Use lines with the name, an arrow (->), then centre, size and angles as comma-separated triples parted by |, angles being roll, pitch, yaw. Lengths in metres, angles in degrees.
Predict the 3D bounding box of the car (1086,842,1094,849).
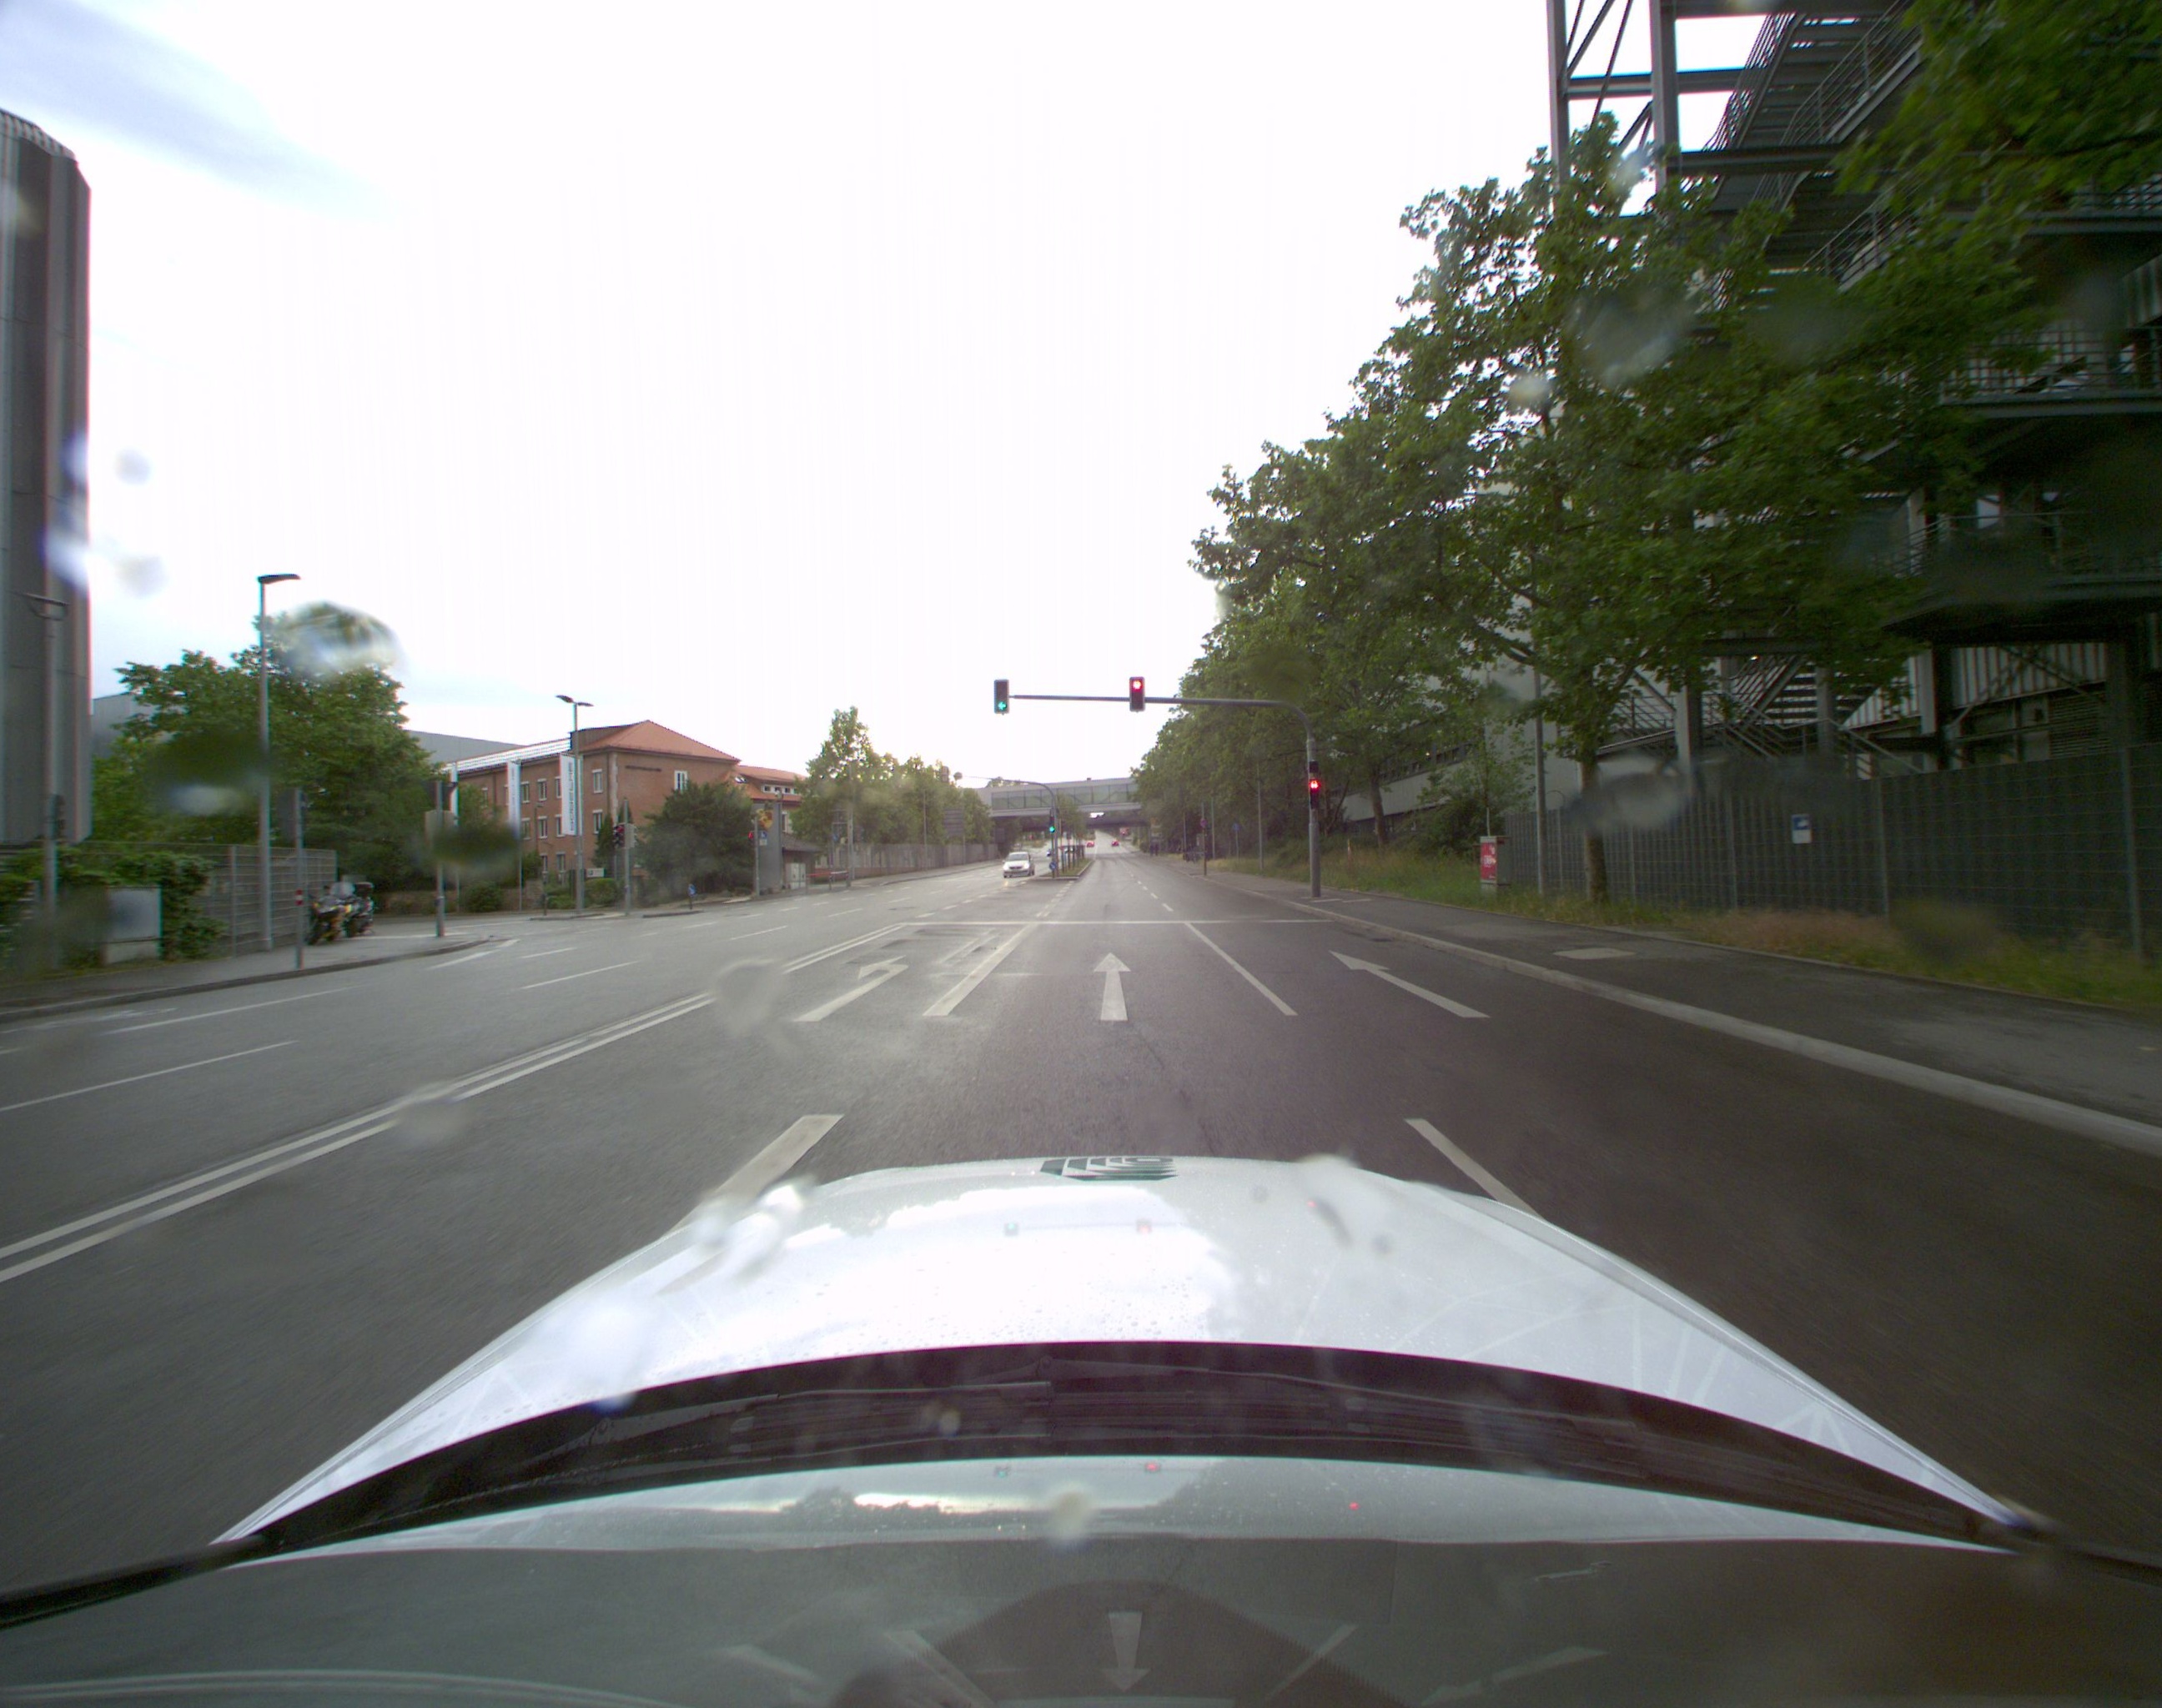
car -> 2.468, -2.395, 220.639 | 1.985, 1.762, 4.002 | 0, -1, 2

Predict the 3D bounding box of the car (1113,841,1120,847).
car -> 9.484, -2.643, 217.030 | 1.867, 1.497, 4.070 | 0, -1, 2

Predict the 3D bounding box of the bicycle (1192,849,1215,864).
bicycle -> 10.464, 0.215, 69.586 | 1.982, 1.216, 0.541 | 0, -1, 2

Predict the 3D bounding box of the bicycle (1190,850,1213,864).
bicycle -> 10.620, 0.238, 71.772 | 1.982, 1.233, 0.541 | 0, -1, 2

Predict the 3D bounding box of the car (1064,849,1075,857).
car -> -2.376, -0.186, 169.394 | 1.870, 1.624, 3.781 | -2, 0, 2

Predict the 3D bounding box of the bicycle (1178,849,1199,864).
bicycle -> 10.719, 0.271, 81.264 | 1.982, 1.430, 0.723 | 0, -1, 2

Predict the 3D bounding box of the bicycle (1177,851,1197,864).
bicycle -> 10.758, 0.355, 82.829 | 1.982, 1.328, 0.576 | 0, -1, 2

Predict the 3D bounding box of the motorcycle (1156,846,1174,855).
motorcycle -> 11.545, -0.476, 111.602 | 2.354, 1.202, 0.724 | -3, 0, 9

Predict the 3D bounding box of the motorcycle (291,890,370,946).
motorcycle -> -18.664, 1.547, 20.327 | 0.774, 1.218, 2.487 | -2, 0, -27

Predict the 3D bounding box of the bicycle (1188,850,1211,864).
bicycle -> 10.666, 0.254, 73.277 | 1.982, 1.242, 0.541 | 0, -1, 2

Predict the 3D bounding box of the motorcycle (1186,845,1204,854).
motorcycle -> 16.092, -0.625, 115.011 | 2.354, 1.202, 0.724 | -3, 0, 9

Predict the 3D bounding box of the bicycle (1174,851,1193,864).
bicycle -> 10.840, 0.393, 86.359 | 1.955, 1.328, 0.654 | 0, -1, 2

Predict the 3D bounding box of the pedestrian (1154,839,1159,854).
pedestrian -> 10.394, -0.986, 111.965 | 0.619, 2.013, 0.606 | -3, 0, 2

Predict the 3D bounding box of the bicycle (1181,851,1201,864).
bicycle -> 11.055, 0.335, 82.107 | 1.982, 1.328, 0.576 | 0, -1, 2

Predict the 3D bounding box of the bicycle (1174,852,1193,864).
bicycle -> 11.083, 0.421, 88.295 | 1.955, 1.328, 0.654 | 0, -1, 2

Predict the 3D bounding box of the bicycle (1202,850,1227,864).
bicycle -> 11.059, 0.251, 67.536 | 1.982, 1.094, 0.541 | 0, -1, 2

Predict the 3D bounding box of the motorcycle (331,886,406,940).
motorcycle -> -19.919, 1.602, 22.851 | 1.030, 1.337, 2.748 | -3, 0, -30

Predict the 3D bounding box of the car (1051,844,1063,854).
car -> -4.410, -0.908, 151.587 | 1.870, 1.624, 3.781 | -2, 0, 2

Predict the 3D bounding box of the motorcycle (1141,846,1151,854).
motorcycle -> 11.099, -0.607, 139.205 | 0.792, 1.311, 2.363 | -3, 0, -16

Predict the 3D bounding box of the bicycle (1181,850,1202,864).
bicycle -> 10.668, 0.299, 78.776 | 1.982, 1.328, 0.576 | 0, -1, 2

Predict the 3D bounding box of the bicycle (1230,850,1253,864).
bicycle -> 14.756, 0.266, 74.742 | 1.982, 1.328, 0.576 | 0, -1, 2

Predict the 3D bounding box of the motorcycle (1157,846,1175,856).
motorcycle -> 12.010, -0.433, 115.250 | 2.354, 1.202, 0.724 | -3, 0, 9

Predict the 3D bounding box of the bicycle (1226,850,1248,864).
bicycle -> 14.736, 0.294, 76.724 | 1.982, 1.328, 0.576 | 0, -1, 2

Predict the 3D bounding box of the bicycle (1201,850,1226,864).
bicycle -> 11.083, 0.259, 68.104 | 1.982, 1.094, 0.541 | 0, -1, 2

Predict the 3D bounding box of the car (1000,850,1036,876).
car -> -4.105, 0.563, 53.763 | 1.870, 1.624, 3.781 | -2, 0, 2

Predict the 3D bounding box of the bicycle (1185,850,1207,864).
bicycle -> 10.689, 0.285, 75.492 | 1.982, 1.242, 0.541 | 0, -1, 2

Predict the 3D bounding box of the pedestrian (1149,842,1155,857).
pedestrian -> 9.790, -0.655, 112.331 | 0.619, 2.013, 0.606 | -3, 0, 2

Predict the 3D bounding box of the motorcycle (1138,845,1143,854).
motorcycle -> 11.531, -0.873, 158.548 | 0.787, 1.533, 2.377 | -3, 0, 1

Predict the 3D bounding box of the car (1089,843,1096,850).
car -> 3.229, -2.146, 226.900 | 1.877, 1.762, 3.971 | 0, -1, 2

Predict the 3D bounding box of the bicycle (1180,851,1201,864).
bicycle -> 10.350, 0.302, 76.879 | 1.982, 1.242, 0.541 | 0, -1, 2

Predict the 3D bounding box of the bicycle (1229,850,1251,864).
bicycle -> 14.772, 0.278, 75.555 | 1.982, 1.328, 0.576 | 0, -1, 2

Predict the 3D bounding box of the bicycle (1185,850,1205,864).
bicycle -> 11.252, 0.326, 80.508 | 1.982, 1.328, 0.576 | 0, -1, 2

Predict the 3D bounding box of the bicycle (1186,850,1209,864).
bicycle -> 10.654, 0.272, 74.544 | 1.982, 1.242, 0.541 | 0, -1, 2

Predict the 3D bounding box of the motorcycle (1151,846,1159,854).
motorcycle -> 12.237, -0.685, 134.135 | 0.789, 1.311, 2.371 | -3, 0, -6

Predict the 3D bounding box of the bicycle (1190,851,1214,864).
bicycle -> 10.579, 0.290, 71.190 | 1.982, 1.094, 0.541 | 0, -1, 2

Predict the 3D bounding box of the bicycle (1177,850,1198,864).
bicycle -> 10.380, 0.309, 79.596 | 1.982, 1.328, 0.576 | 0, -1, 2
